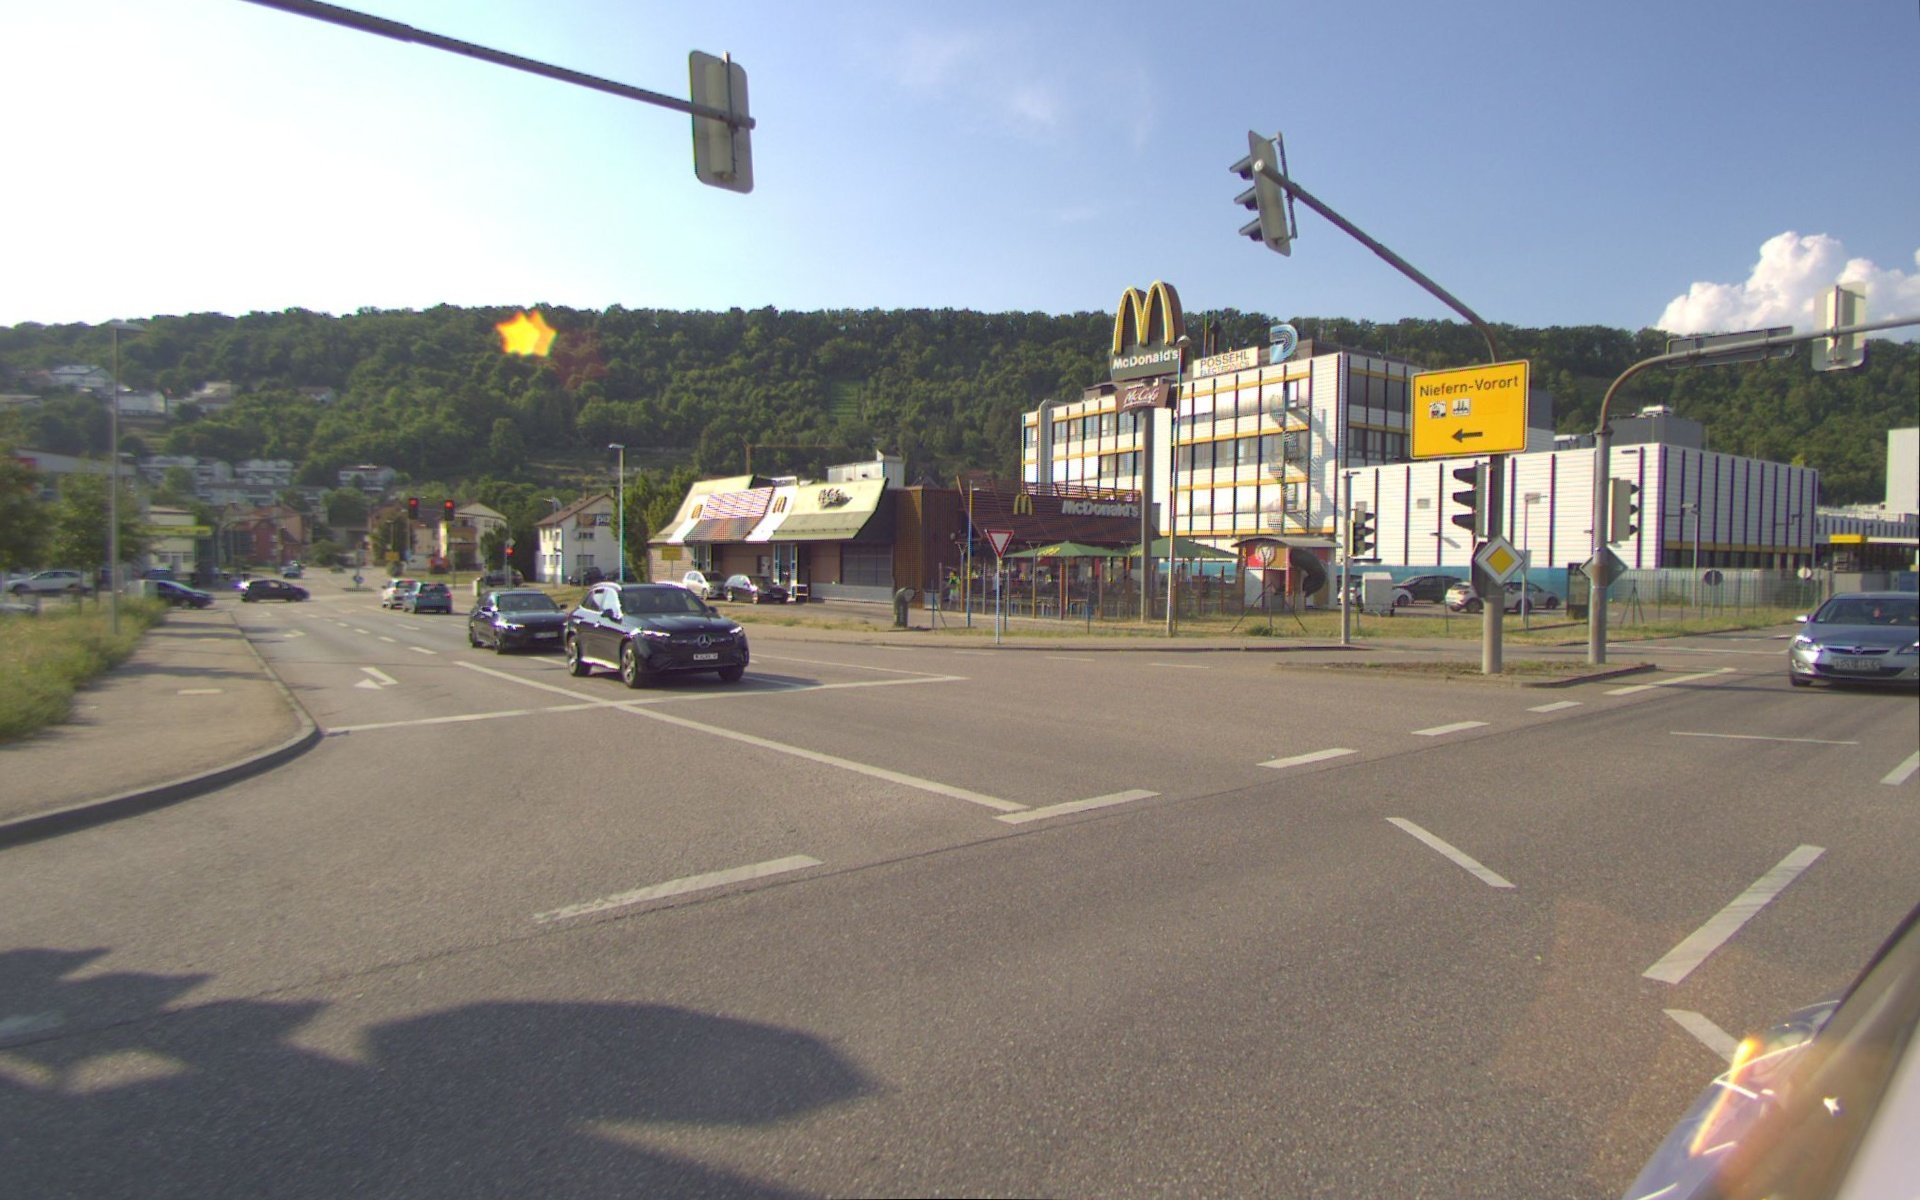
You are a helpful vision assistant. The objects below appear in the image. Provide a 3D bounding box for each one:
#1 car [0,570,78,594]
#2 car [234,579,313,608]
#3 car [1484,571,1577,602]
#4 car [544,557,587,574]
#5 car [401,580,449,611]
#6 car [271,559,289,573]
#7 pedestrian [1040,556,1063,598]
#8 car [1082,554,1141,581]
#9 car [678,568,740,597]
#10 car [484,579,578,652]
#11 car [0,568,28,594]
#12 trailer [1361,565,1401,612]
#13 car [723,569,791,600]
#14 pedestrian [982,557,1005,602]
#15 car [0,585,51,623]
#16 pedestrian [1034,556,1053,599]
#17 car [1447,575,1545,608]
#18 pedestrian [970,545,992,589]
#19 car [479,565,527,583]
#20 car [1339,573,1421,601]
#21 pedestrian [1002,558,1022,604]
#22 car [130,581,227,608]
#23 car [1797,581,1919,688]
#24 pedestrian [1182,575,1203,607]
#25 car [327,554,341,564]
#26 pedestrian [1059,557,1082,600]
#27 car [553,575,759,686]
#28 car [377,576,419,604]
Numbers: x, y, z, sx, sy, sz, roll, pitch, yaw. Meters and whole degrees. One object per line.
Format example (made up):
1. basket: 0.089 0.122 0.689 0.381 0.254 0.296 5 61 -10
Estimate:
1. car: -59.947 -1.164 65.627 3.926 1.438 1.849 -2 1 -36
2. car: -44.448 -0.428 65.574 1.599 1.749 3.943 0 1 40
3. car: 29.796 -0.691 52.925 3.828 1.523 1.880 -1 1 -6
4. car: -41.793 -3.667 107.128 3.925 1.690 1.830 -2 1 -35
5. car: -26.646 -0.233 50.354 1.548 1.504 3.322 -1 1 -37
6. car: -83.382 -4.136 124.137 1.699 1.694 3.618 -1 1 -36
7. pedestrian: 4.437 -1.124 49.088 0.749 2.039 0.735 -1 0 -36
8. car: 10.527 -2.232 70.400 3.684 1.799 1.822 -1 1 -8
9. car: -13.922 -1.008 56.068 1.827 1.475 3.997 -2 3 -38
10. car: -10.569 0.330 24.789 1.660 1.616 4.004 -1 1 -30
11. car: -67.356 -1.272 70.168 3.930 1.772 1.997 -2 1 -41
12. trailer: 19.054 -0.546 45.921 1.331 1.971 3.461 2 2 18
13. car: -10.409 -0.822 51.686 1.827 1.475 3.998 -2 3 -38
14. pedestrian: 1.532 -0.917 45.838 0.731 2.039 0.754 -1 0 36
15. car: -40.164 0.199 41.700 3.930 1.527 1.728 -2 1 -41
16. pedestrian: 3.960 -1.066 47.976 0.726 2.039 0.759 -1 0 20
17. car: 26.456 -0.436 50.039 3.829 1.523 1.879 -1 1 -4
18. pedestrian: 0.978 -1.528 46.896 0.758 2.039 0.727 -1 0 34
19. car: -44.431 -2.513 98.364 3.925 1.690 1.830 -2 1 -35
20. car: 22.717 -0.710 54.791 3.698 1.473 1.700 -1 1 -8
21. pedestrian: 2.332 -0.840 45.290 0.726 2.039 0.759 -1 0 20
22. car: -43.758 -0.330 56.789 1.762 1.415 3.969 -1 1 23
23. car: 14.358 0.454 15.499 3.815 1.408 1.690 -2 2 -40
24. pedestrian: 9.914 -0.401 43.182 0.587 1.353 0.672 -1 1 -44
25. car: -101.780 -6.651 164.512 1.558 1.414 3.377 -1 1 -38
26. pedestrian: 5.275 -1.041 48.254 0.749 2.039 0.735 -1 0 -36
27. car: -5.278 0.426 17.177 1.963 1.605 4.468 -1 1 -36
28. car: -30.930 -0.545 55.693 1.658 1.438 3.653 -1 1 -35
